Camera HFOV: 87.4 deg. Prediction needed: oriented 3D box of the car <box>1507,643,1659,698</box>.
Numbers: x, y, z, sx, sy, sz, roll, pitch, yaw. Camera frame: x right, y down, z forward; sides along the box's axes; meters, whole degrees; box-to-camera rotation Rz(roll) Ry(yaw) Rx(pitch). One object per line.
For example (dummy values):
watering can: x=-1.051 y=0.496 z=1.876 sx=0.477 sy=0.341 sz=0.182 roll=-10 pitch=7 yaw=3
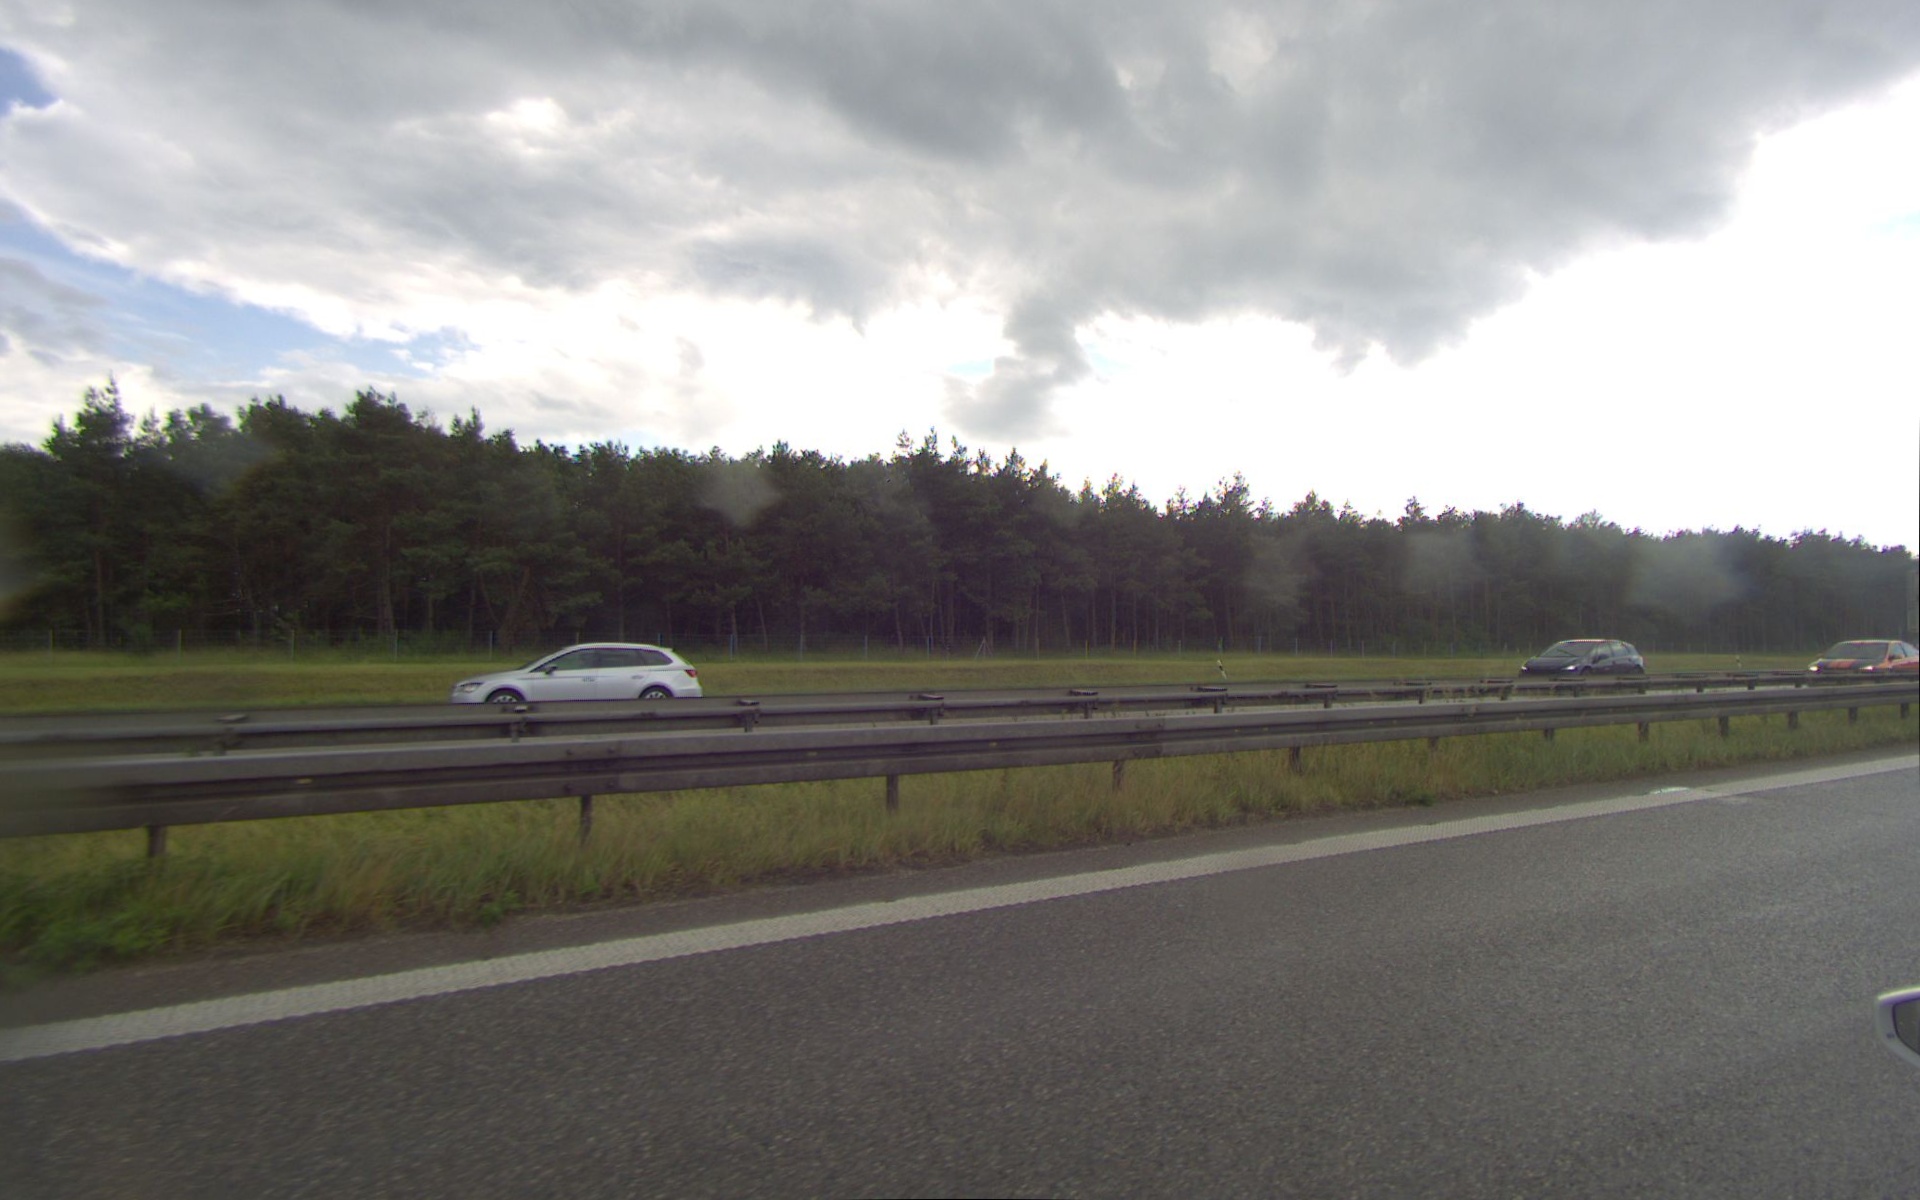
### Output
car: x=18.366 y=2.022 z=29.557 sx=4.598 sy=1.475 sz=1.907 roll=1 pitch=-2 yaw=-31

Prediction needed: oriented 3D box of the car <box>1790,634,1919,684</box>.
car: x=26.680 y=1.700 z=29.655 sx=4.598 sy=1.382 sz=1.907 roll=1 pitch=-2 yaw=-31

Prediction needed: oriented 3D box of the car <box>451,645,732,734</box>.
car: x=-6.906 y=1.602 z=19.011 sx=4.762 sy=1.491 sz=1.782 roll=1 pitch=-2 yaw=-30
